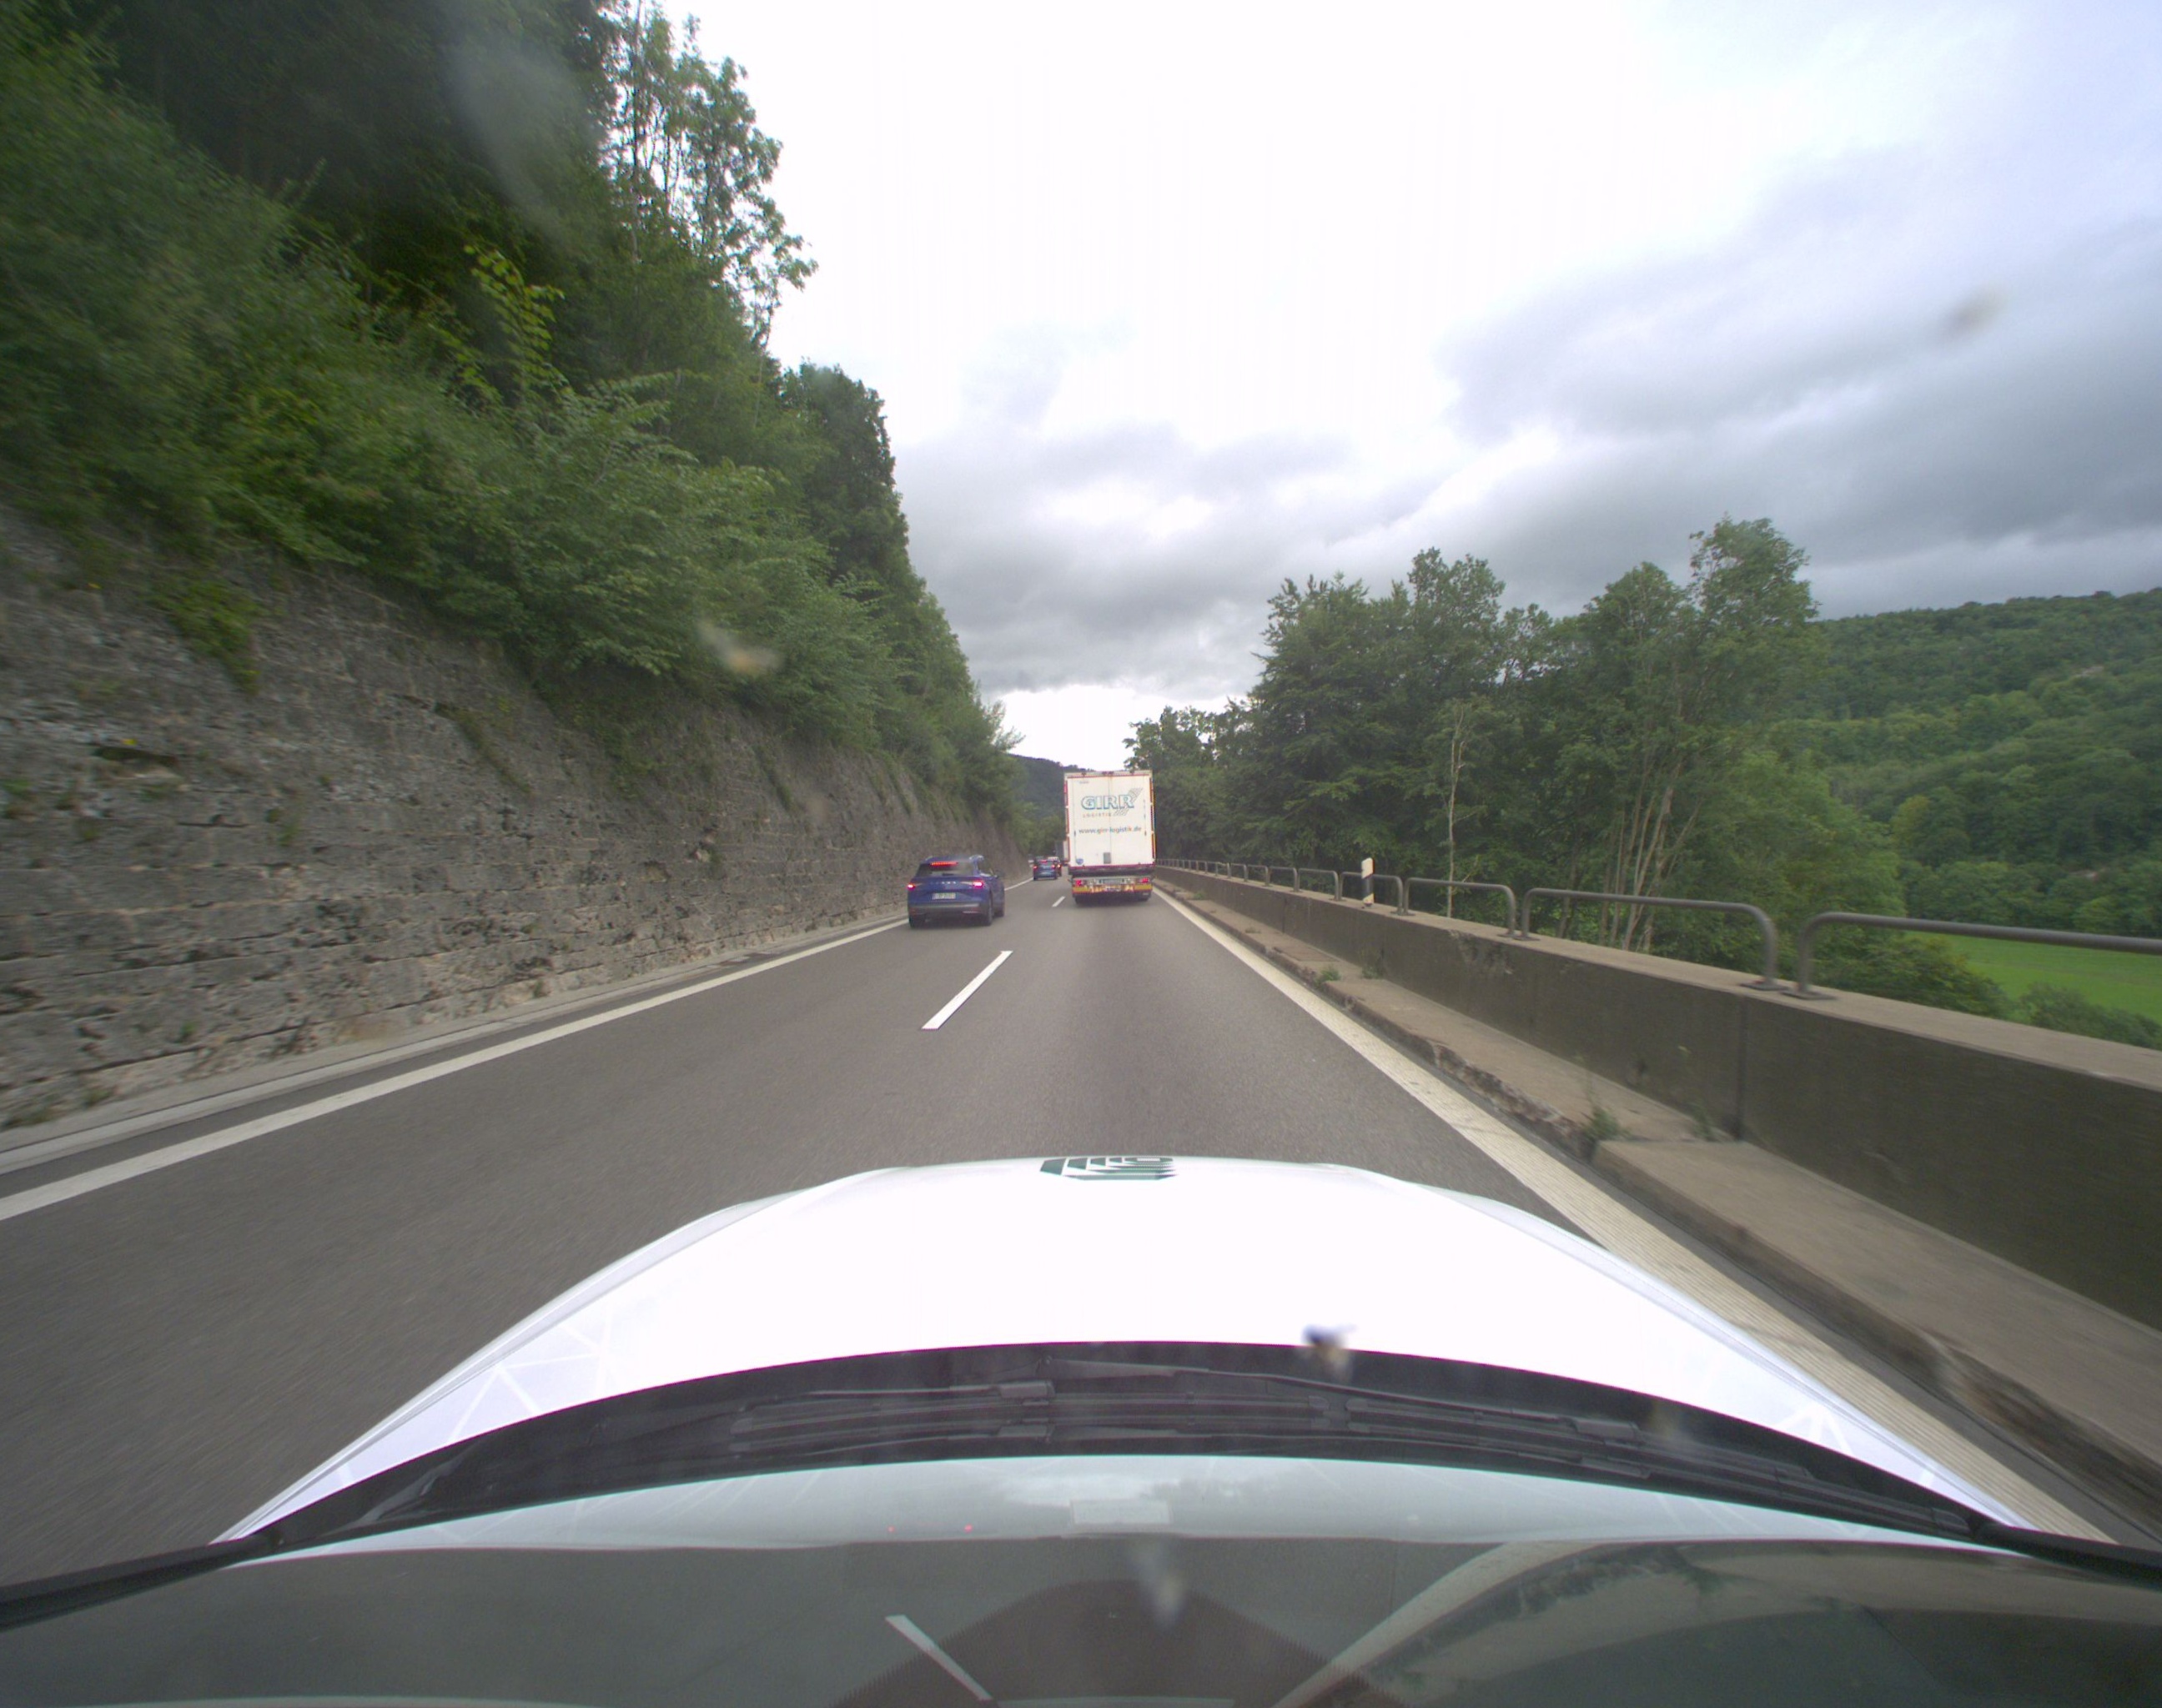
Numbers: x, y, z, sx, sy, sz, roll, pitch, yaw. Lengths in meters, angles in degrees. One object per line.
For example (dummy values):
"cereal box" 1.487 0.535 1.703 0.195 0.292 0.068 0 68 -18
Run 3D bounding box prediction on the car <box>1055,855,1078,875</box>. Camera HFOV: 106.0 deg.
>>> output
"car" -1.193 0.895 68.365 1.739 1.587 4.000 0 0 1

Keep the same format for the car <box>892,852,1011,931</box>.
"car" -2.989 0.818 19.926 1.986 1.632 5.009 -2 0 1

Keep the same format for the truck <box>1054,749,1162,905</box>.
"truck" 0.933 -0.753 30.864 3.073 4.464 15.158 0 0 1

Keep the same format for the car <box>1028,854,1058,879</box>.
"car" -2.673 0.917 58.743 1.988 1.596 4.350 -2 -1 -1

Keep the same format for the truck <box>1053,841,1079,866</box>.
"truck" -2.512 -0.041 130.244 2.632 3.857 12.326 -1 0 -7

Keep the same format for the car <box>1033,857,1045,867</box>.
"car" -6.811 1.323 130.832 1.893 1.550 4.243 -2 0 -4

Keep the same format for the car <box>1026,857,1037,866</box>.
"car" -9.855 1.483 161.762 1.744 1.587 3.989 4 -1 -7
